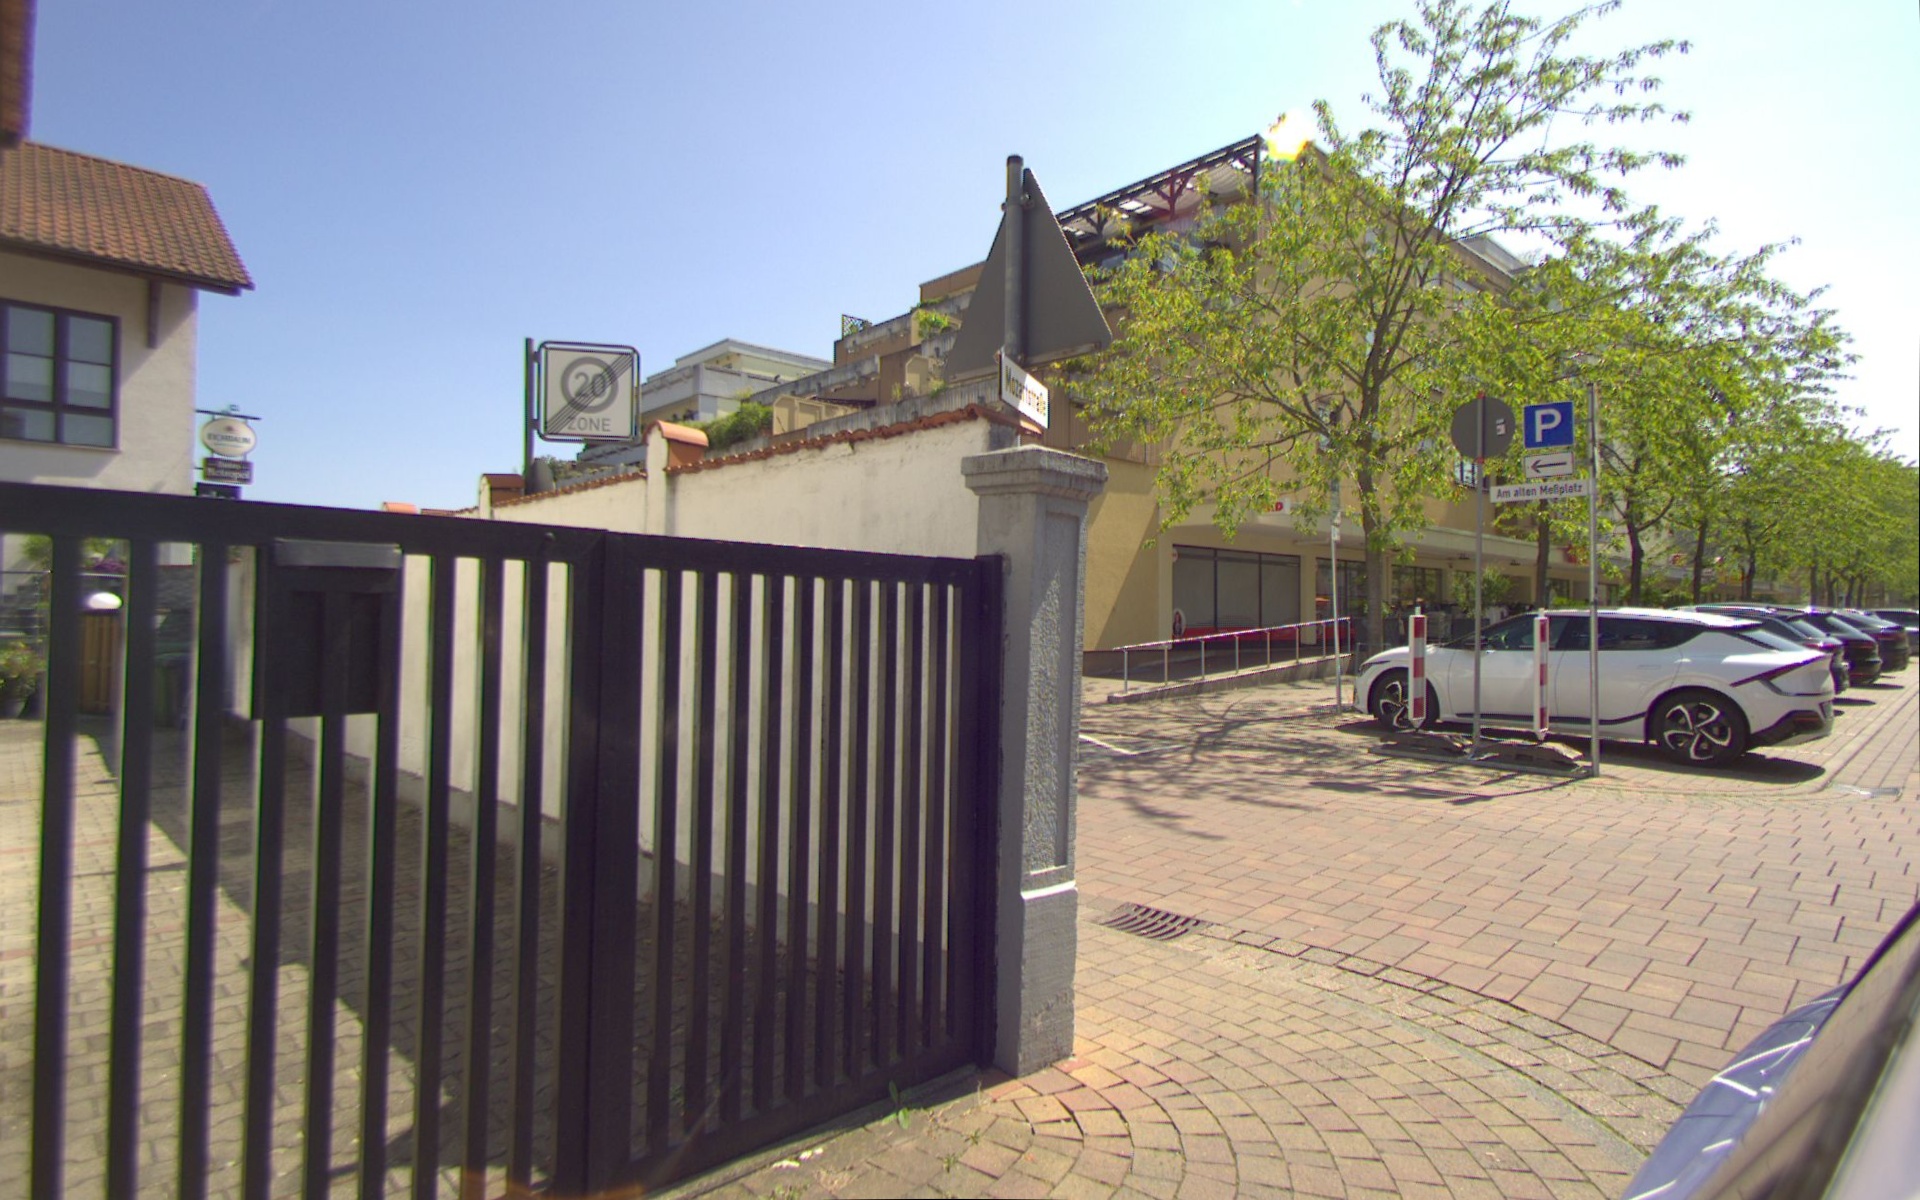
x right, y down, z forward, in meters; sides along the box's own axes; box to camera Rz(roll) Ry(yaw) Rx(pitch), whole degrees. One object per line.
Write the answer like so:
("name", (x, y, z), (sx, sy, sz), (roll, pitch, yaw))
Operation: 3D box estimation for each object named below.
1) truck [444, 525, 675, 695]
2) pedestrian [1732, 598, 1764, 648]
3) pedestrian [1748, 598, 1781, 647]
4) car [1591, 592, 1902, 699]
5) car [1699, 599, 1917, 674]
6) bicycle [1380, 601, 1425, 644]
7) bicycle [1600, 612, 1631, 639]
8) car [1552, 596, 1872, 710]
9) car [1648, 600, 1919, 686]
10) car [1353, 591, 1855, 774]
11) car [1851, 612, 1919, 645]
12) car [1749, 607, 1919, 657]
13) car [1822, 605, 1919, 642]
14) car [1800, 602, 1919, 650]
("truck", (-8.603, 0.228, 21.302), (2.501, 3.044, 6.393), (1, -2, -41))
("pedestrian", (28.401, 0.836, 36.493), (0.621, 1.796, 0.685), (-1, -2, 9))
("pedestrian", (29.590, 0.824, 37.237), (0.634, 1.753, 0.617), (-1, -2, -9))
("car", (14.155, 0.718, 18.379), (1.968, 1.702, 4.281), (1, 0, -45))
("car", (21.113, 0.839, 25.297), (1.653, 1.632, 4.030), (1, 1, -44))
("bicycle", (11.993, 0.604, 27.403), (1.744, 1.138, 0.413), (0, -2, -42))
("bicycle", (26.967, 1.042, 41.619), (1.835, 1.095, 0.642), (0, -2, -44))
("car", (12.153, 0.766, 16.522), (1.793, 1.553, 3.947), (1, 1, -44))
("car", (17.778, 0.836, 21.854), (1.818, 1.608, 4.516), (1, 0, -41))
("car", (6.957, 0.734, 11.331), (1.758, 1.596, 4.446), (1, 0, -43))
("car", (43.267, 1.304, 46.154), (1.586, 1.449, 3.796), (1, 0, -42))
("car", (28.674, 1.016, 32.998), (4.348, 1.482, 1.871), (1, 0, 29))
("car", (41.215, 1.018, 44.722), (1.776, 1.563, 4.580), (1, -1, -42))
("car", (33.377, 0.920, 36.762), (1.727, 1.638, 4.247), (1, 0, -44))
